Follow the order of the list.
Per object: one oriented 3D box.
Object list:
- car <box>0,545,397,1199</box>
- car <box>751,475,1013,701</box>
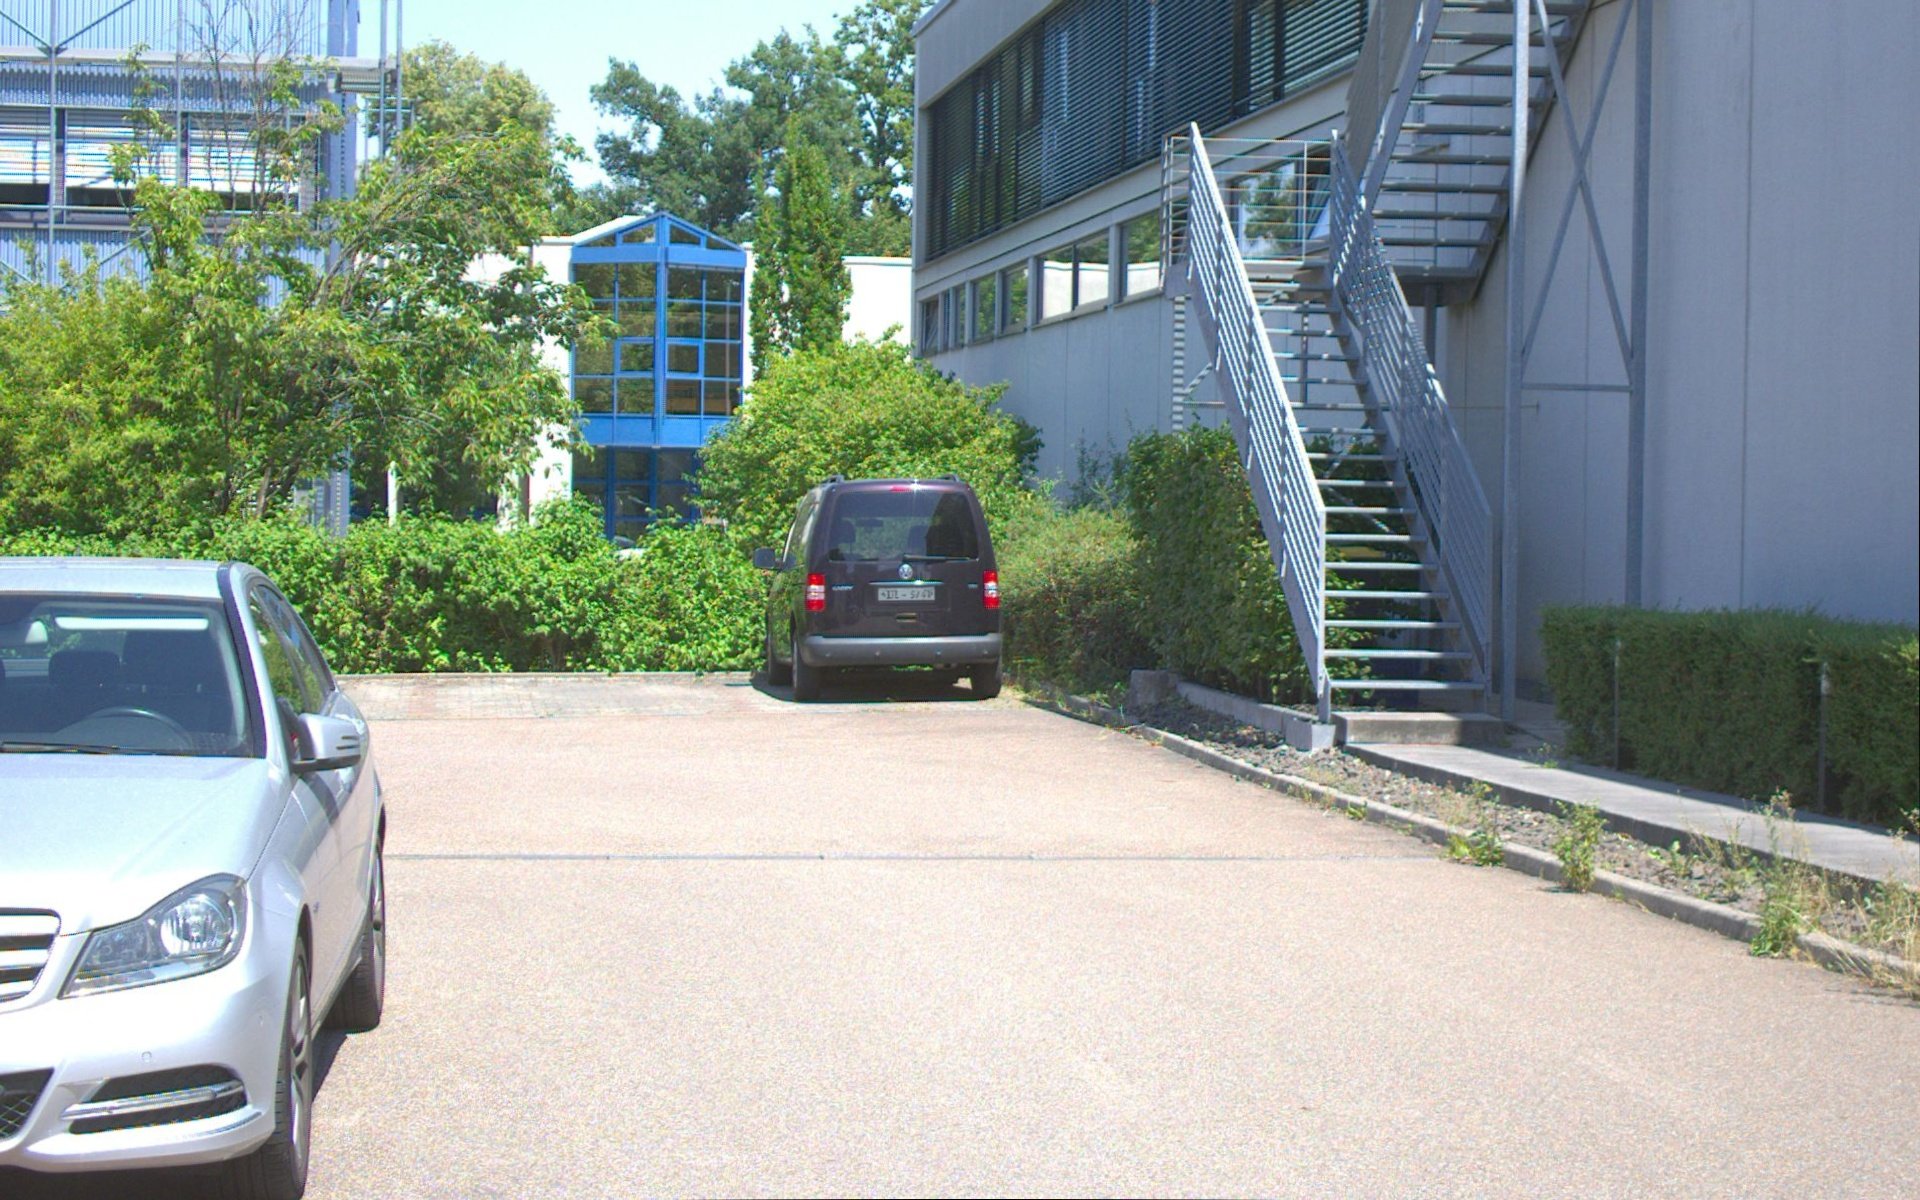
[{"bbox_3d":[-2.434,0.603,8.736,1.729,1.452,4.149,0,1,-6],"label":"car"},{"bbox_3d":[-0.749,-0.163,29.965,1.743,1.830,4.001,-1,2,-9],"label":"car"}]
